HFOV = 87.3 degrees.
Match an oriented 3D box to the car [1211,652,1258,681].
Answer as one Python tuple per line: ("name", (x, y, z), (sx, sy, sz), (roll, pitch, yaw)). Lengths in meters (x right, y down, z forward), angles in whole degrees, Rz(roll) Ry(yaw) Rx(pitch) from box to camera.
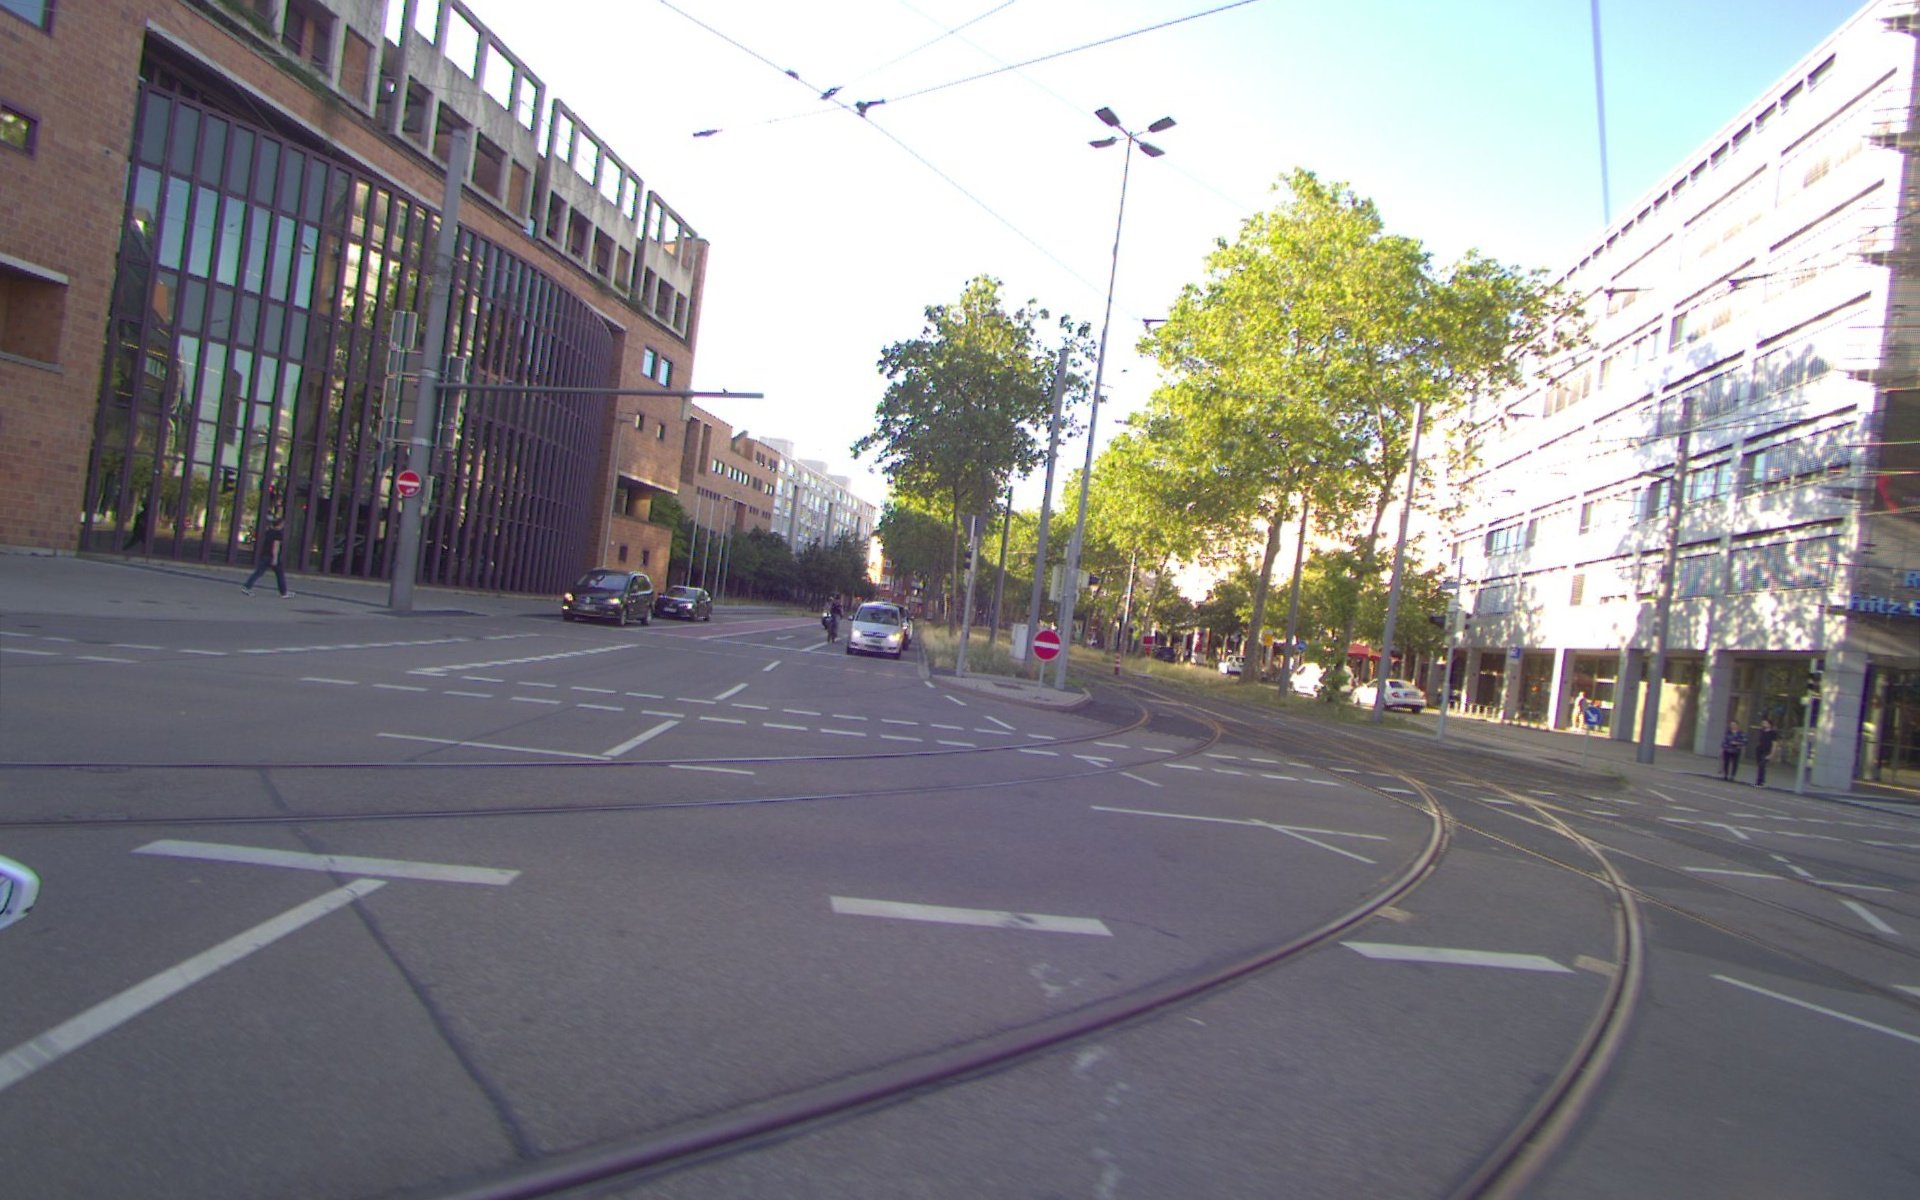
("car", (18.785, 4.514, 68.956), (1.825, 1.570, 4.325), (7, -1, -1))

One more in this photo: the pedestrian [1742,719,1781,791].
("pedestrian", (21.673, 4.178, 27.200), (0.369, 1.846, 0.544), (7, 0, -18))

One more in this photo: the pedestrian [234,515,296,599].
("pedestrian", (-15.560, -0.956, 22.526), (0.654, 1.737, 0.821), (7, 0, 38))

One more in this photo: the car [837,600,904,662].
("car", (-2.748, 0.941, 31.764), (1.704, 1.616, 4.325), (7, -1, -2))

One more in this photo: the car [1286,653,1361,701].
("car", (19.304, 4.053, 53.591), (1.964, 2.038, 4.383), (7, -1, -3))

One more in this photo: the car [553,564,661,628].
("car", (-11.032, -0.075, 31.819), (1.806, 1.674, 4.500), (7, -1, -2))

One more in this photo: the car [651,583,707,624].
("car", (-11.825, 0.135, 42.546), (1.891, 1.392, 3.992), (8, -1, -12))

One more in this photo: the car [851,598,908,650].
("car", (-3.074, 0.919, 39.200), (1.826, 1.670, 4.325), (7, -1, -2))

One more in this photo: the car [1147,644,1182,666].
("car", (18.380, 4.954, 90.504), (2.228, 1.570, 4.327), (7, -1, 1))

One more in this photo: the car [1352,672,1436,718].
("car", (20.048, 4.365, 46.705), (1.825, 1.570, 4.325), (7, -1, -1))

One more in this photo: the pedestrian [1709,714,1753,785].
("pedestrian", (21.348, 4.129, 27.859), (0.536, 1.846, 0.587), (7, 0, -18))

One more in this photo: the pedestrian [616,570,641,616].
("pedestrian", (-15.583, -0.344, 47.294), (0.886, 2.038, 0.755), (7, 0, -19))

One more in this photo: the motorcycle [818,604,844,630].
("motorcycle", (-6.998, 0.916, 54.521), (0.836, 1.274, 2.032), (8, -1, 4))

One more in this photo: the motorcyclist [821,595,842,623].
("motorcyclist", (-6.944, 0.501, 54.472), (0.806, 1.369, 0.749), (8, 0, 4))
